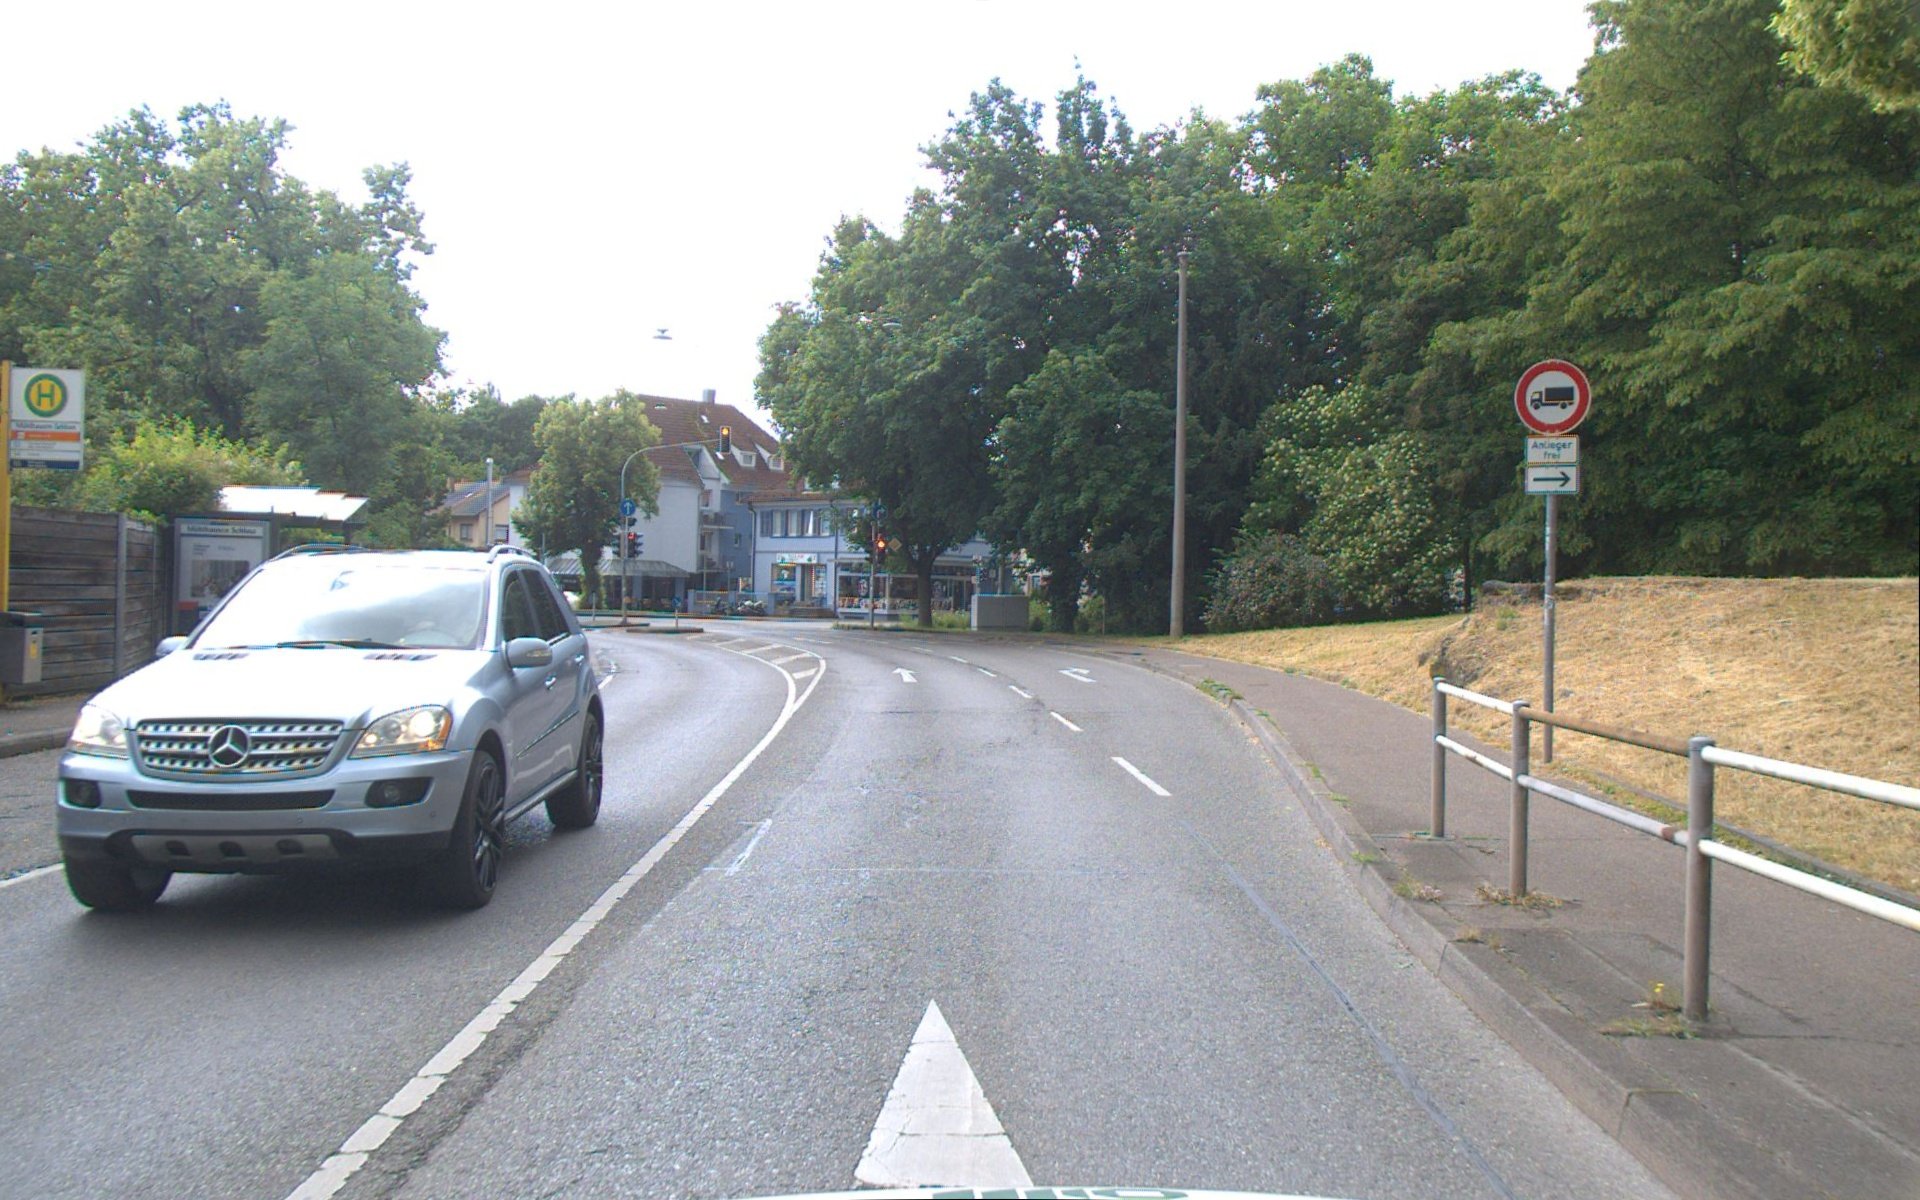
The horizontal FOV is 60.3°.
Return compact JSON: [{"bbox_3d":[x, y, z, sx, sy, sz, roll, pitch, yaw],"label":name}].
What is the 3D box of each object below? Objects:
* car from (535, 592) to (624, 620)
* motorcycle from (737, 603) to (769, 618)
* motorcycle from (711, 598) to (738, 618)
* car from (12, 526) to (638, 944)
[{"bbox_3d":[-21.564,0.350,93.795,4.479,1.544,2.002,0,0,13],"label":"car"},{"bbox_3d":[-12.585,0.625,100.471,1.797,0.862,0.561,0,5,15],"label":"motorcycle"},{"bbox_3d":[-14.468,0.497,101.654,1.463,1.126,0.561,0,5,11],"label":"motorcycle"},{"bbox_3d":[-3.132,0.558,9.338,1.896,1.754,4.690,0,0,-2],"label":"car"}]
